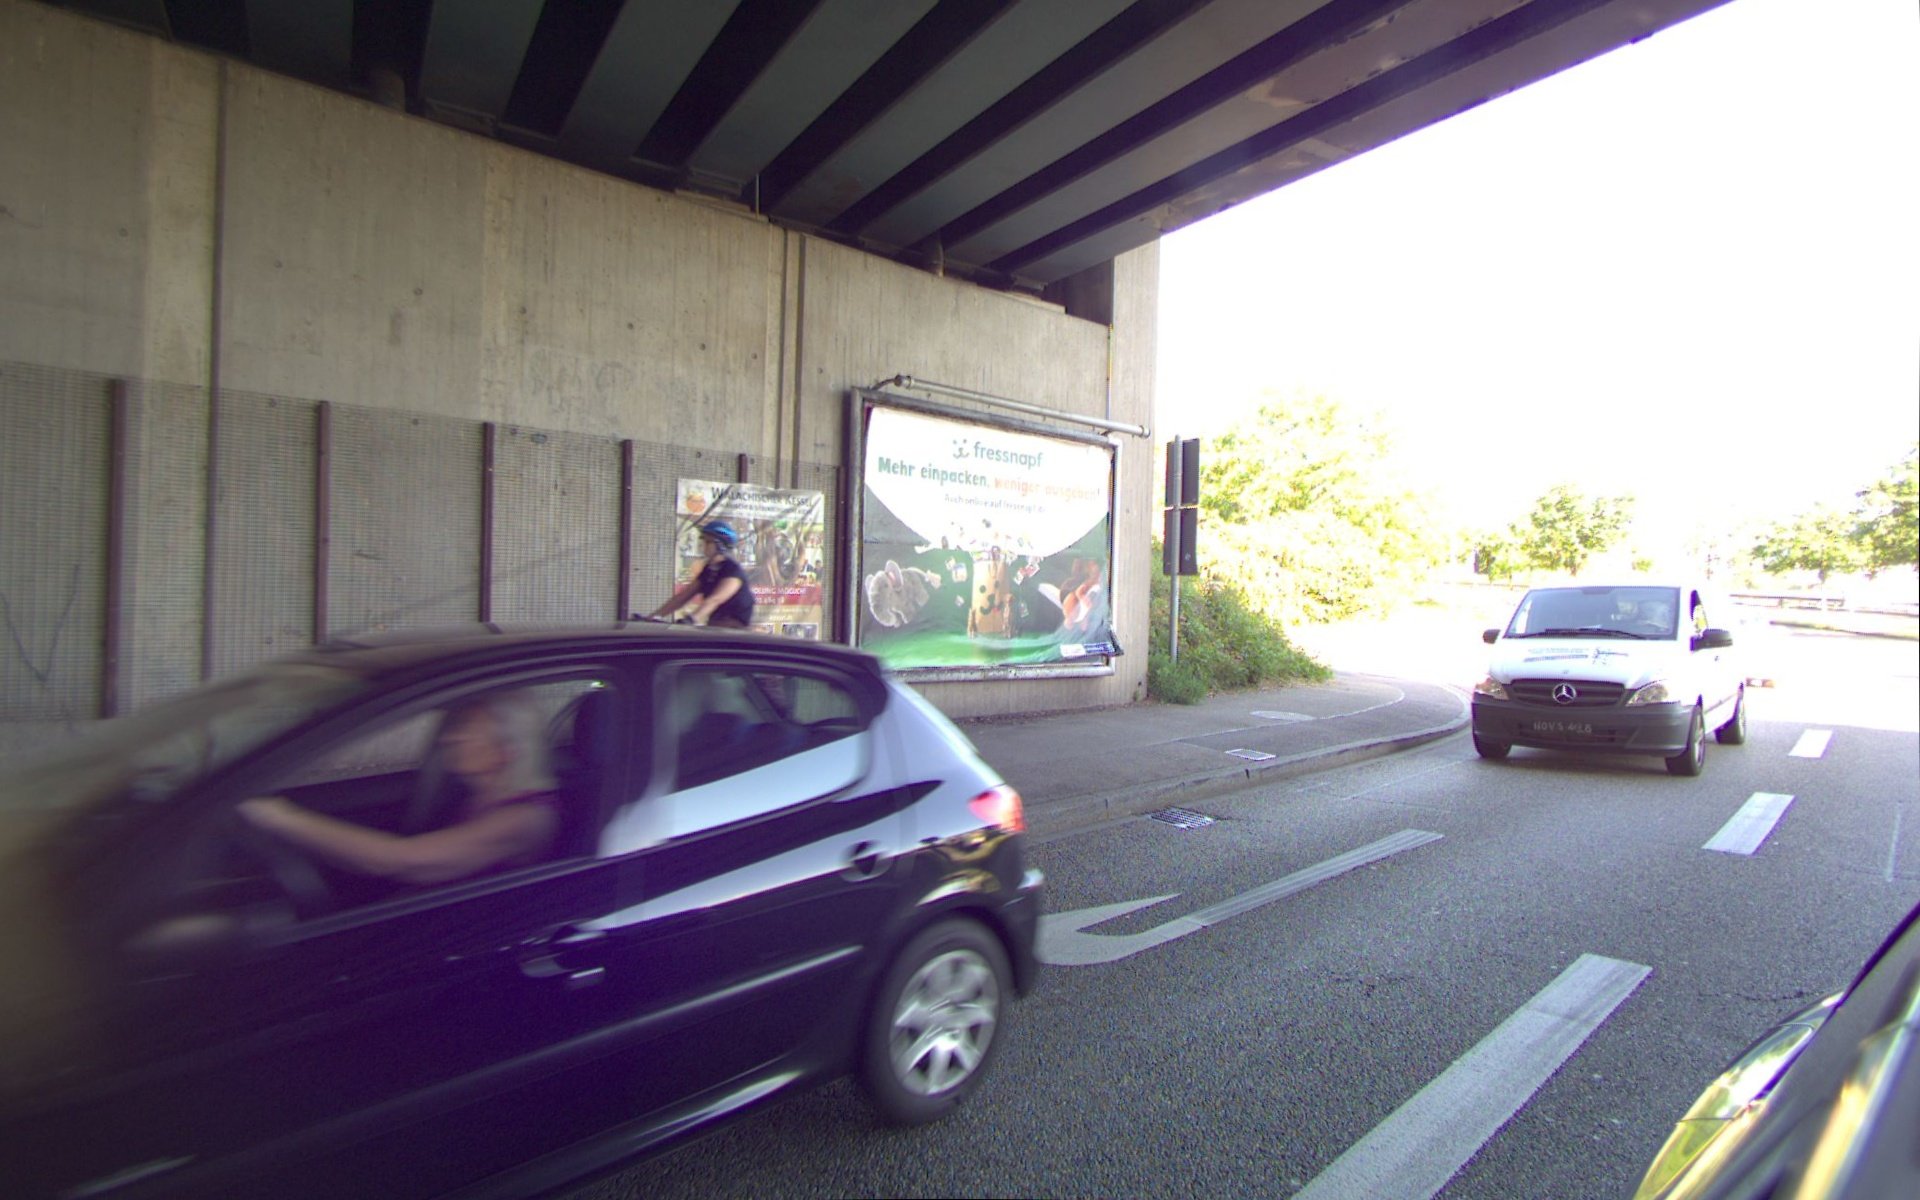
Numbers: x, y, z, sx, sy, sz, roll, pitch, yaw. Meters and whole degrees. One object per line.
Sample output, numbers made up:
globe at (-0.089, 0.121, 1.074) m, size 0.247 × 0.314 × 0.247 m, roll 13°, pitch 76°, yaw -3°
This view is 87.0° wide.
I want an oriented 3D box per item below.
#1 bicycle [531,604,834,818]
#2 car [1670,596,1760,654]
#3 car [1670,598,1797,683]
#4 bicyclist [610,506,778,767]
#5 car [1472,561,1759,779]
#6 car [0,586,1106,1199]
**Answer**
bicycle at (-1.746, 0.644, 6.529) m, size 1.746 × 1.182 × 0.652 m, roll 2°, pitch 1°, yaw -40°
car at (22.984, 0.700, 30.935) m, size 1.766 × 1.621 × 4.060 m, roll 0°, pitch 0°, yaw 31°
car at (16.673, 0.775, 21.783) m, size 1.990 × 1.570 × 4.359 m, roll 0°, pitch 1°, yaw 39°
bicyclist at (-1.721, 0.209, 6.539) m, size 0.832 × 1.553 × 0.654 m, roll 0°, pitch 1°, yaw -41°
car at (7.314, 0.593, 11.055) m, size 1.897 × 1.859 × 4.761 m, roll 0°, pitch 0°, yaw 42°
car at (-1.445, 0.713, 2.649) m, size 3.654 × 1.474 × 1.747 m, roll 0°, pitch 0°, yaw -43°
